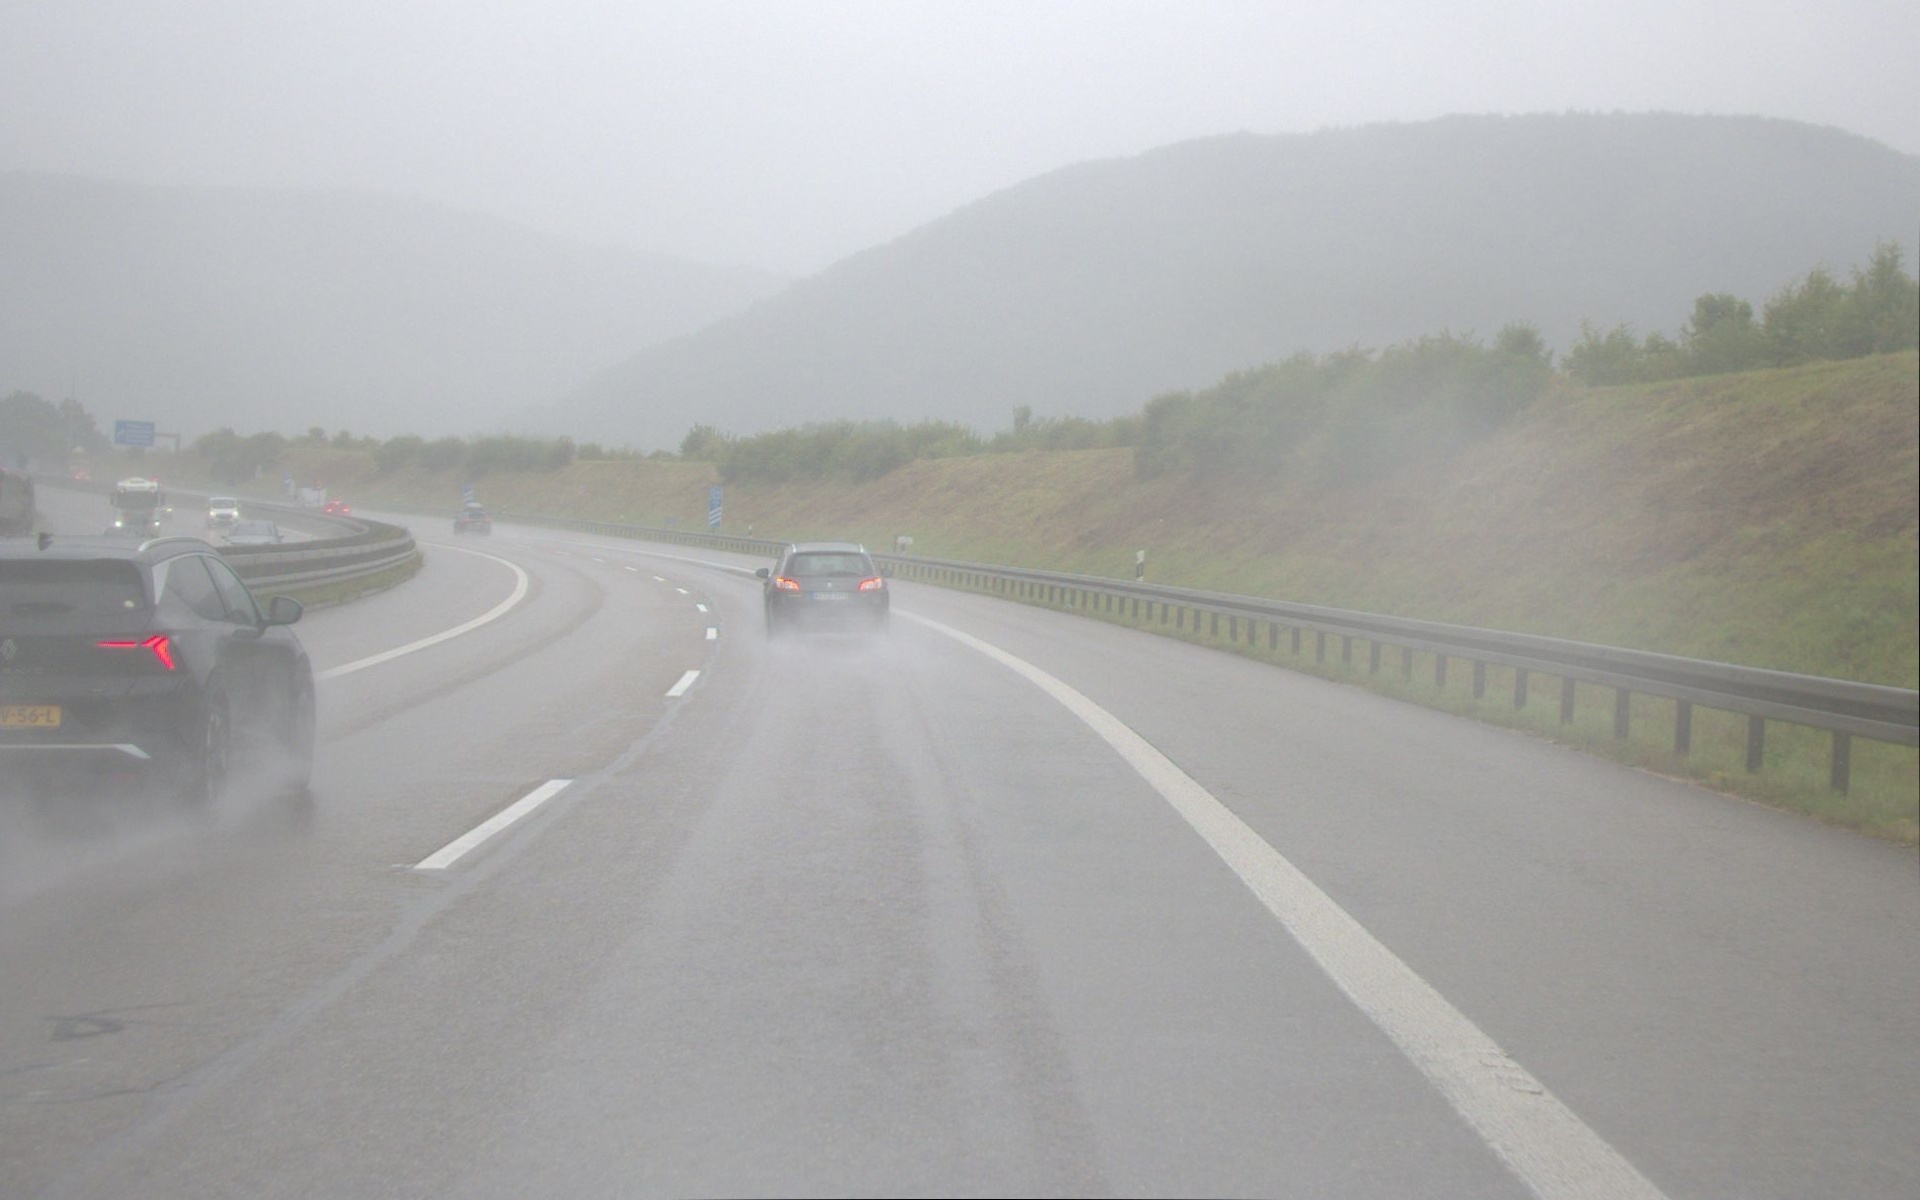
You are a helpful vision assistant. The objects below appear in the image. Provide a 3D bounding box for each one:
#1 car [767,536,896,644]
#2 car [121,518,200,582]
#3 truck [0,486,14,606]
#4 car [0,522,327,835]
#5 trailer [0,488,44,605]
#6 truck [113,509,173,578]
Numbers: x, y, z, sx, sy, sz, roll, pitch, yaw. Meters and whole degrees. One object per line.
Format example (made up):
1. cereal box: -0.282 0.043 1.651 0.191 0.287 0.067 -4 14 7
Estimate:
1. car: -1.920 -0.173 50.421 1.679 1.467 3.815 2 1 -5
2. car: -25.882 -1.631 111.387 1.913 2.007 4.001 1 1 -5
3. truck: -29.637 -1.612 101.231 2.715 3.530 5.312 1 1 -7
4. car: -4.952 0.338 19.275 2.405 1.510 4.785 2 1 -7
5. trailer: -30.286 -1.705 106.101 2.719 3.479 9.398 1 1 -8
6. truck: -45.923 -3.191 193.353 2.883 3.789 5.317 0 1 -9
